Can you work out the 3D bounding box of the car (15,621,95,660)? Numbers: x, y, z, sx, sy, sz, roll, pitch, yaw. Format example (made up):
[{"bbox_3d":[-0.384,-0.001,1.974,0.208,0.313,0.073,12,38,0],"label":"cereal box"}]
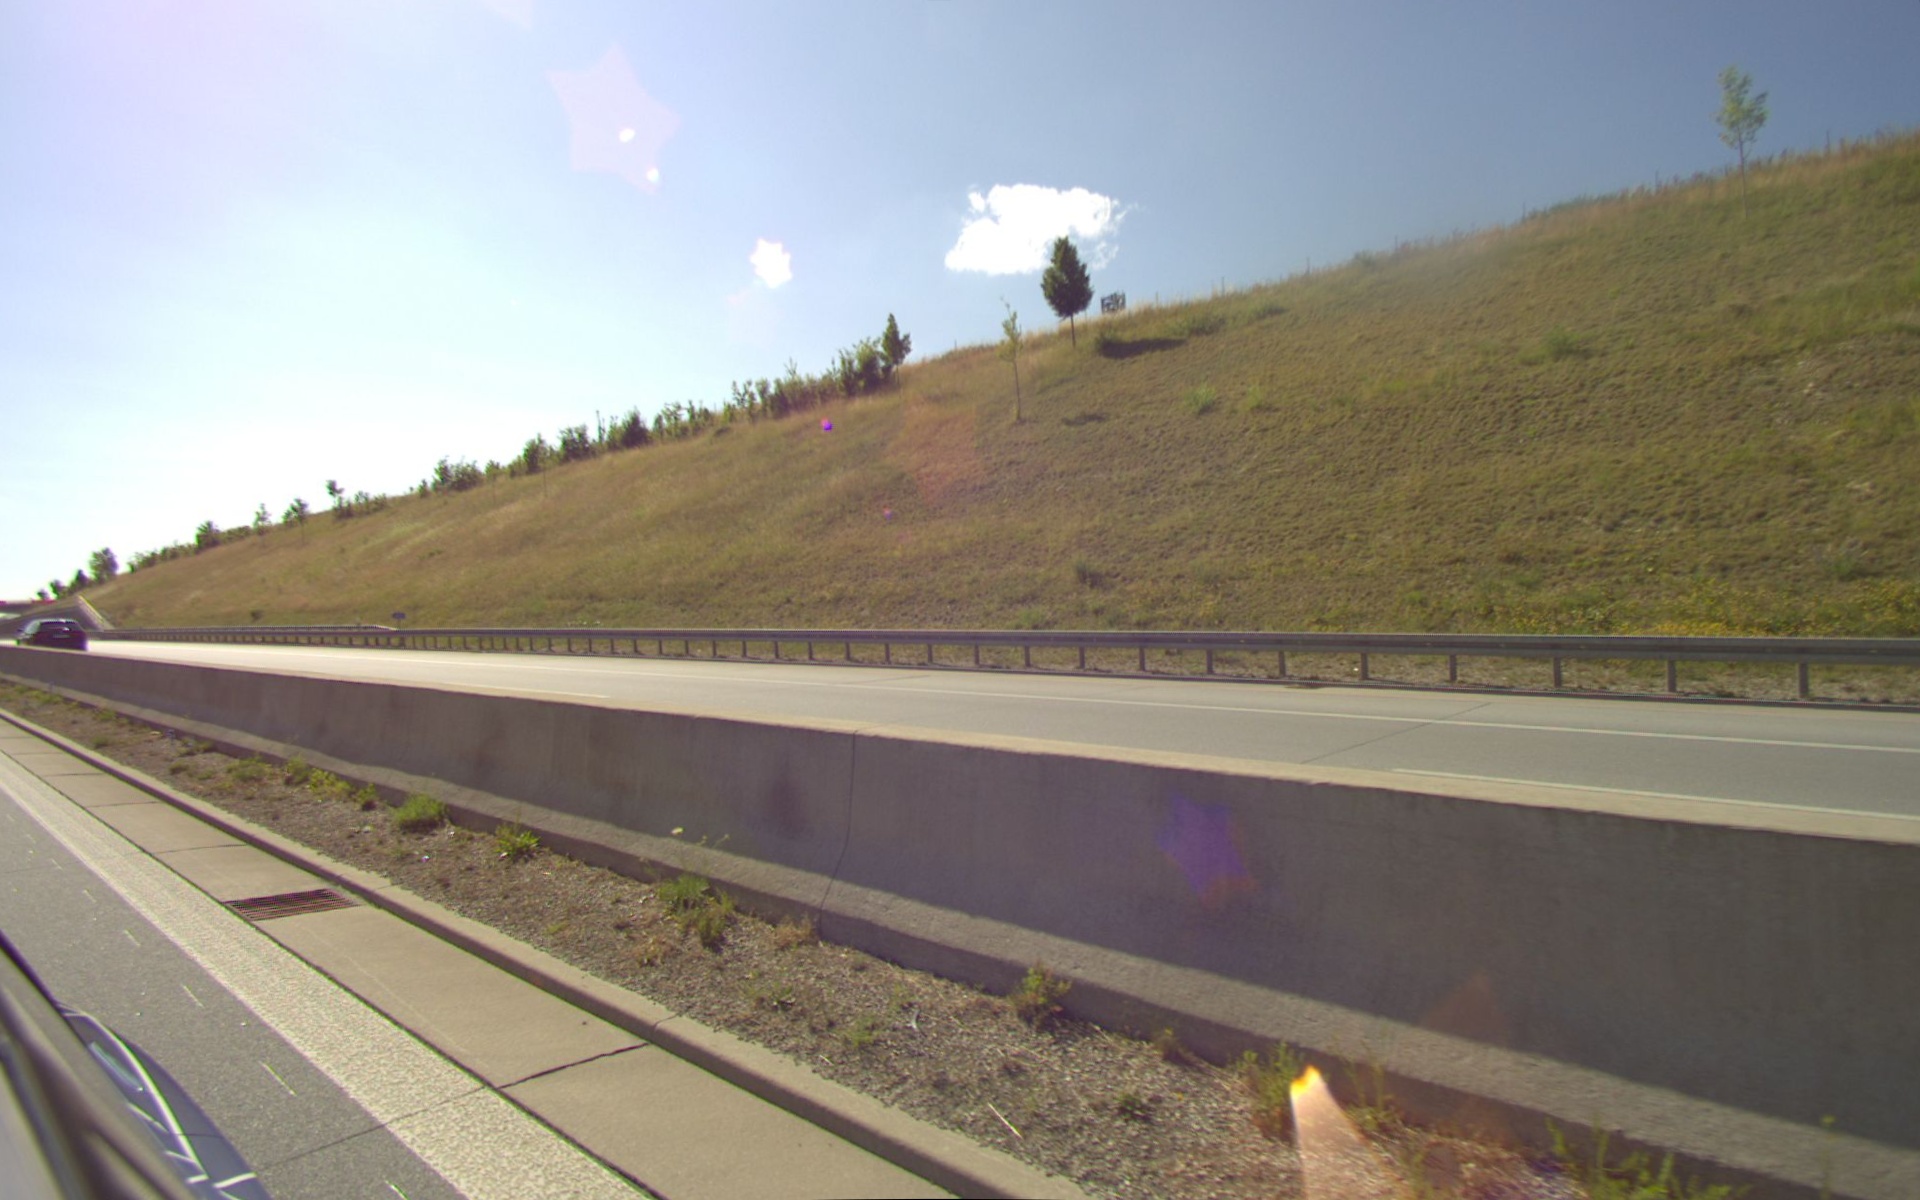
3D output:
[{"bbox_3d":[-37.301,1.640,41.655,4.765,1.472,1.835,-2,0,41],"label":"car"}]
